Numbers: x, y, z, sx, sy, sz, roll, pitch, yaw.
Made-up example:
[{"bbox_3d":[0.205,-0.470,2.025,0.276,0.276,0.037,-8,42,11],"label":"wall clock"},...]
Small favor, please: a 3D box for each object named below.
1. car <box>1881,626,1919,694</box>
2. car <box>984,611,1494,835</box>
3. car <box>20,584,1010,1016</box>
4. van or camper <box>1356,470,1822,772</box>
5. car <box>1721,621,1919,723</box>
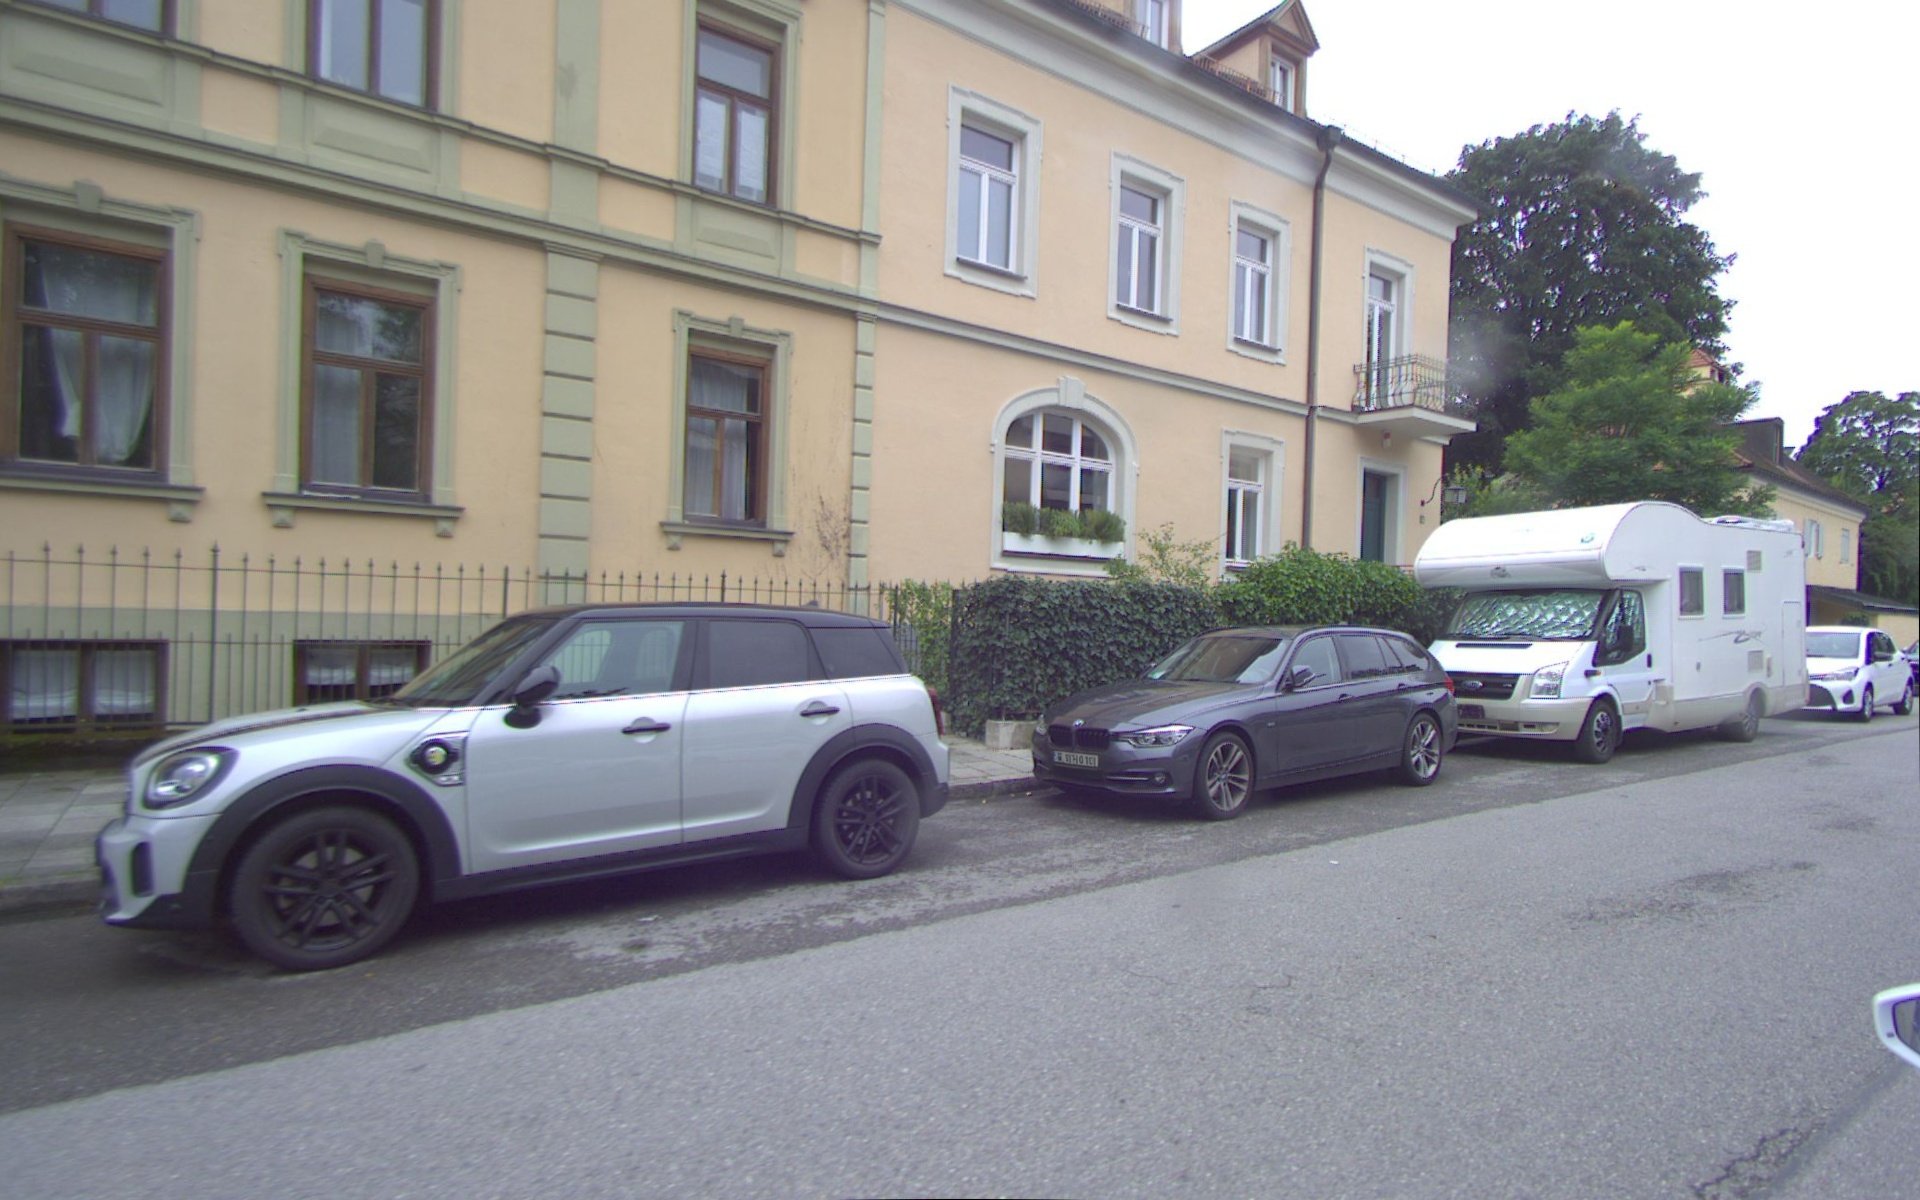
[{"bbox_3d":[23.913,1.440,24.070,4.397,1.555,1.833,2,-3,-35],"label":"car"},{"bbox_3d":[2.676,0.921,9.069,4.776,1.528,1.922,2,-3,-37],"label":"car"},{"bbox_3d":[-2.069,0.798,5.712,4.485,1.555,1.924,1,-3,-35],"label":"car"},{"bbox_3d":[8.334,0.307,12.953,7.137,2.979,2.440,1,-2,-34],"label":"van or camper"},{"bbox_3d":[14.997,1.176,17.374,4.186,1.555,1.767,1,-3,-36],"label":"car"}]
